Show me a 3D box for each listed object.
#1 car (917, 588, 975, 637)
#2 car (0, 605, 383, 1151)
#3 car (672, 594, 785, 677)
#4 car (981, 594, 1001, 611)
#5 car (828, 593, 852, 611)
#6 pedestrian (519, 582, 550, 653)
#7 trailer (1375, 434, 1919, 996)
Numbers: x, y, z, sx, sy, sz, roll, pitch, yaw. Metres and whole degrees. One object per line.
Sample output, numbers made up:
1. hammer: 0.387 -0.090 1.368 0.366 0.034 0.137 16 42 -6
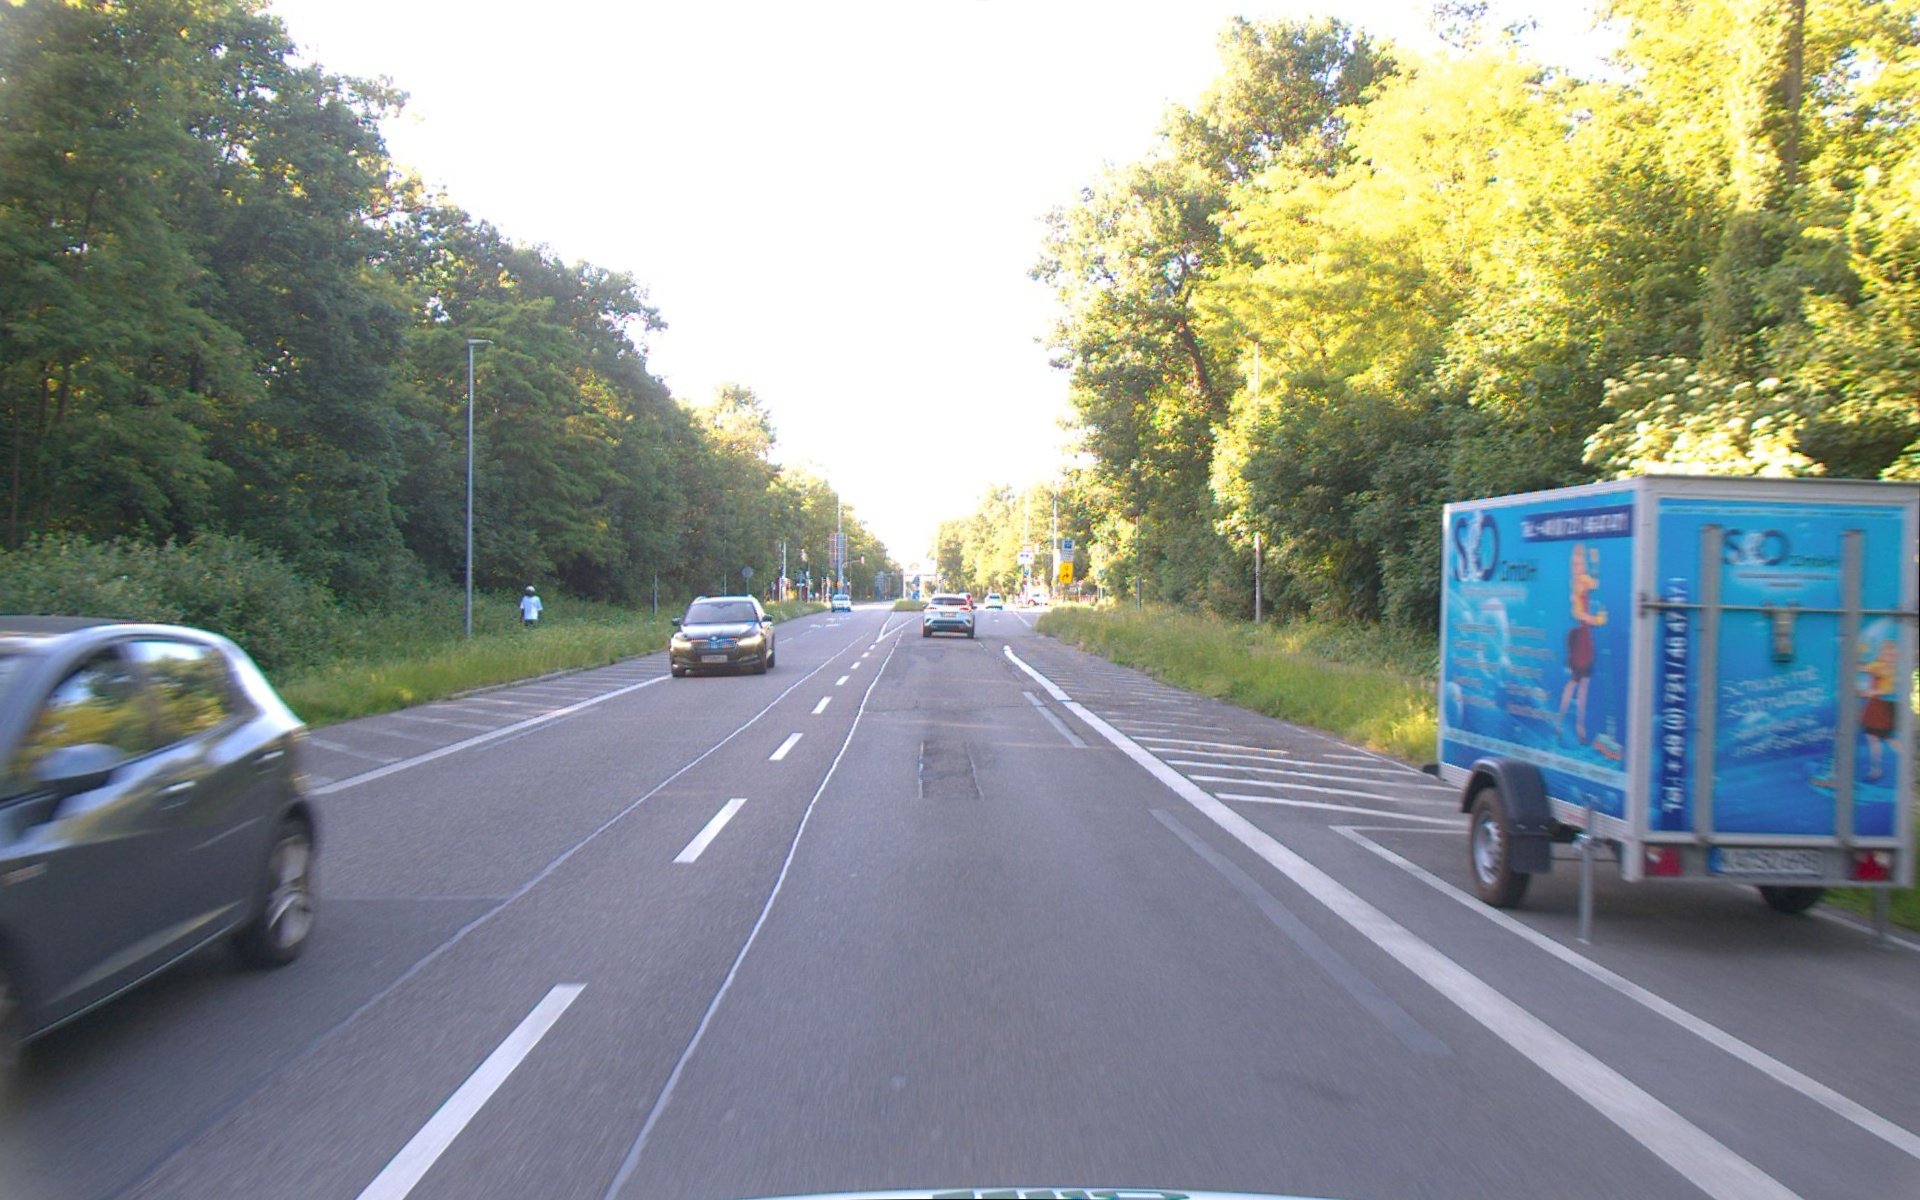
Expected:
1. car: -0.528 0.424 58.444 1.953 1.668 3.999 0 0 -1
2. car: -3.415 0.759 5.480 1.644 1.440 3.999 -1 0 -1
3. car: -4.517 0.646 32.910 1.644 1.516 4.689 -1 0 -1
4. car: 3.127 0.278 166.769 1.953 1.646 4.000 1 0 0
5. car: -10.602 0.196 146.578 1.953 1.489 3.999 1 0 -2
6. pedestrian: -12.463 0.516 48.406 0.679 2.049 0.712 1 0 -1
7. trailer: 3.631 0.468 9.041 1.469 2.274 4.549 1 0 -1
